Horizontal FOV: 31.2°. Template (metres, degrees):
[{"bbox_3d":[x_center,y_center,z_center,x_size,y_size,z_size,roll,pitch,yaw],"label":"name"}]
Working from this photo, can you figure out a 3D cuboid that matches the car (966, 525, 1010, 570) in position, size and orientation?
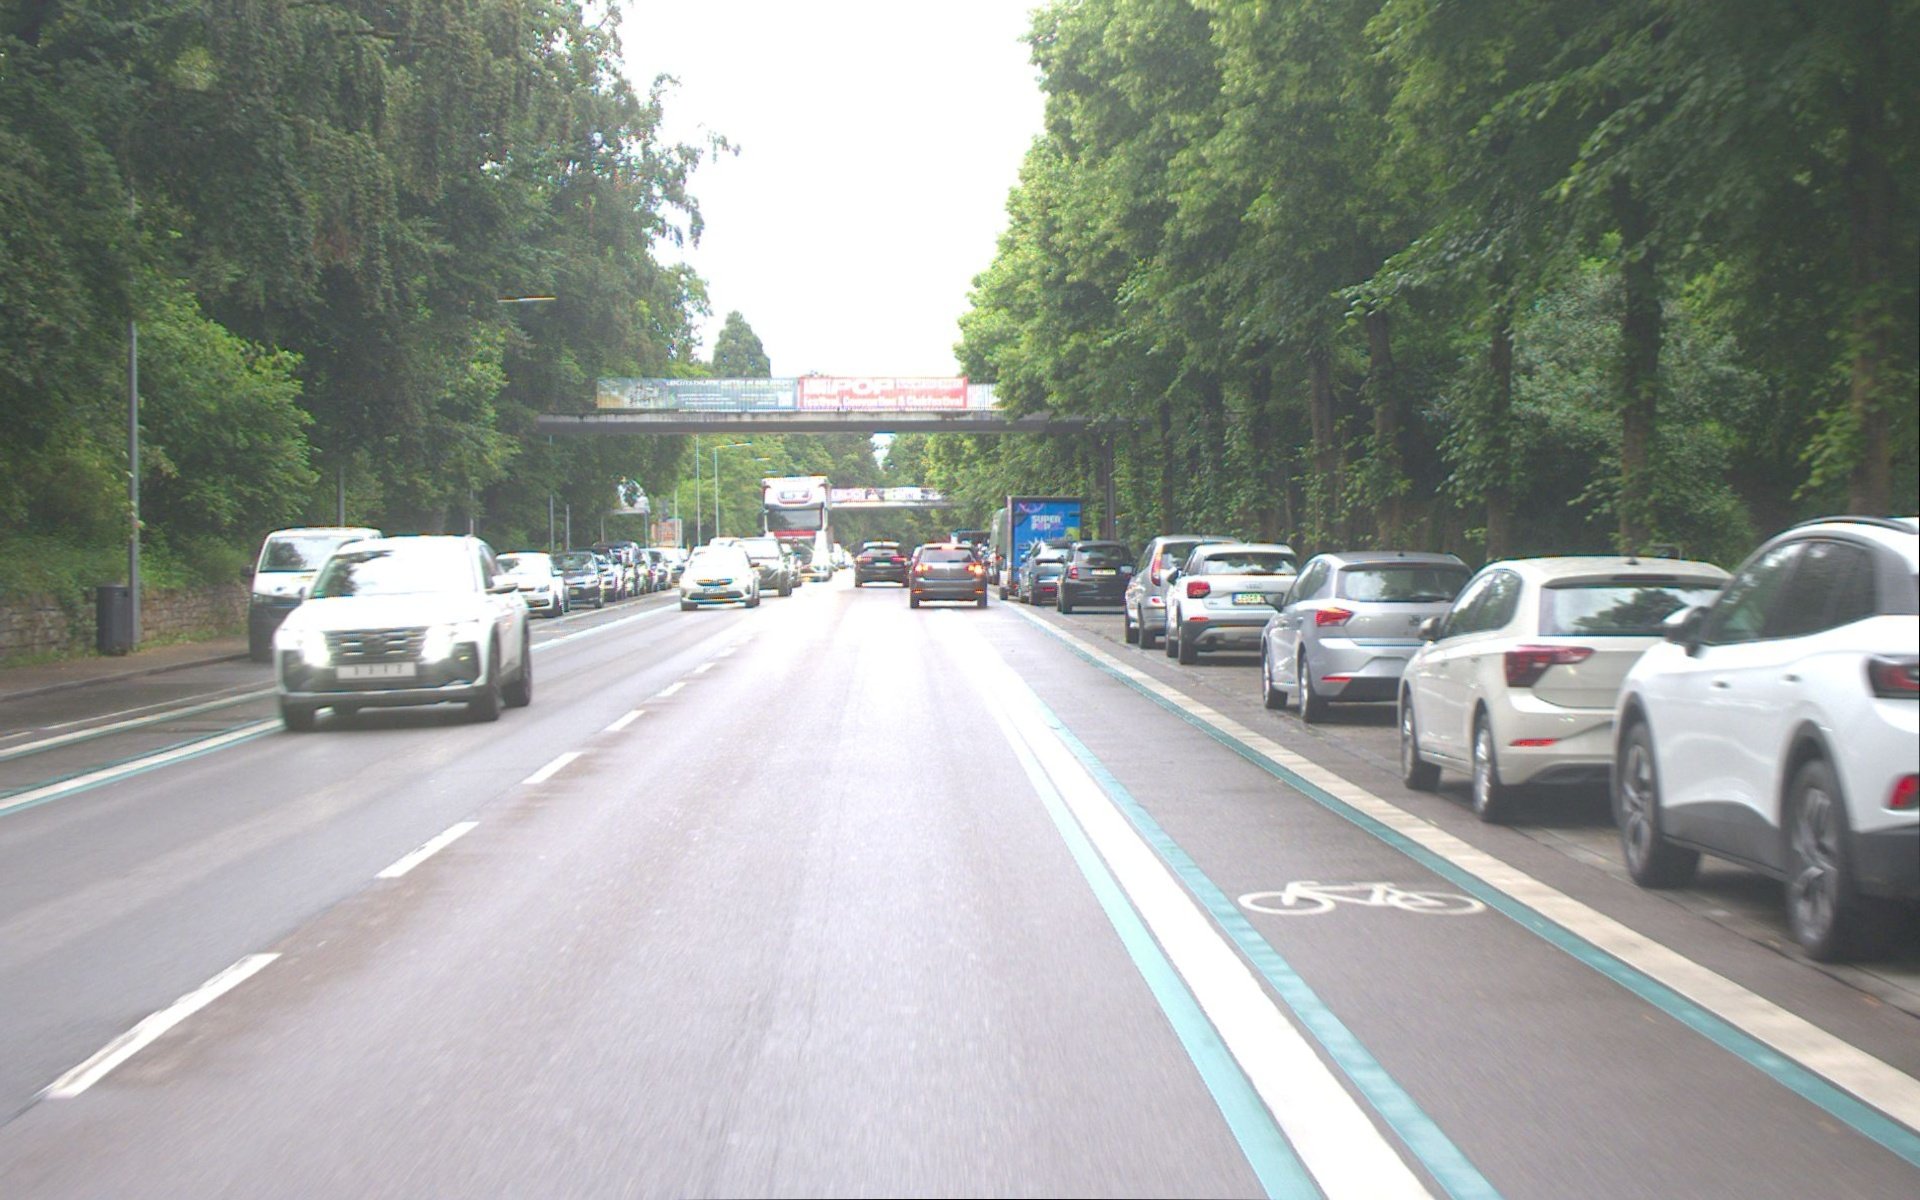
[{"bbox_3d":[1.278,-2.431,158.345,1.926,2.015,4.664,1,1,-1],"label":"car"}]

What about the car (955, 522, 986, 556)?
[{"bbox_3d":[0.684,-3.858,218.532,1.889,2.120,4.045,-1,1,0],"label":"car"}]

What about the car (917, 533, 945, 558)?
[{"bbox_3d":[-1.859,-3.478,219.014,1.731,1.578,4.037,-1,1,-1],"label":"car"}]

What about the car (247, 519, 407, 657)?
[{"bbox_3d":[-9.645,-0.239,52.731,1.973,1.998,5.019,0,1,-5],"label":"car"}]

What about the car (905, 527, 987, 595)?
[{"bbox_3d":[-0.316,-0.908,77.845,1.818,1.503,4.139,0,1,0],"label":"car"}]

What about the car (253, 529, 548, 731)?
[{"bbox_3d":[-4.982,0.209,31.208,1.954,1.633,4.445,-1,2,0],"label":"car"}]

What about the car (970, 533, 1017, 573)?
[{"bbox_3d":[1.353,-1.921,139.949,1.756,1.584,4.499,1,1,-1],"label":"car"}]

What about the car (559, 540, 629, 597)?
[{"bbox_3d":[-10.597,-0.940,99.767,1.687,1.541,4.233,-1,2,-2],"label":"car"}]

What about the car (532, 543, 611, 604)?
[{"bbox_3d":[-10.011,-0.710,88.886,1.831,1.472,4.041,-1,2,-4],"label":"car"}]

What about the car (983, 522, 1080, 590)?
[{"bbox_3d":[1.667,-1.070,82.017,1.899,1.542,4.756,1,1,-4],"label":"car"}]

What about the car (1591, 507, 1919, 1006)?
[{"bbox_3d":[3.959,0.471,13.713,1.993,1.656,4.563,0,1,-1],"label":"car"}]

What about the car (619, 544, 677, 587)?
[{"bbox_3d":[-11.012,-1.244,121.481,1.784,1.418,4.296,-1,2,-2],"label":"car"}]

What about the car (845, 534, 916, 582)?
[{"bbox_3d":[-2.591,-1.374,111.198,2.140,1.487,4.499,1,1,-3],"label":"car"}]

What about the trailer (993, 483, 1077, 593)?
[{"bbox_3d":[1.891,-1.586,87.822,1.952,2.749,4.007,0,1,-1],"label":"trailer"}]

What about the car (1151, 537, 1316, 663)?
[{"bbox_3d":[3.443,-0.039,44.009,1.698,1.508,4.469,1,1,-1],"label":"car"}]

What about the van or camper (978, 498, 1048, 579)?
[{"bbox_3d":[1.790,-2.131,118.813,2.042,2.720,6.901,1,1,-2],"label":"van or camper"}]

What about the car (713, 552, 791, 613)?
[{"bbox_3d":[-5.830,-0.510,96.875,1.961,1.611,4.466,-2,1,-1],"label":"car"}]

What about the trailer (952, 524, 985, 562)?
[{"bbox_3d":[0.488,-3.357,201.687,1.884,2.158,3.808,-1,1,-1],"label":"trailer"}]

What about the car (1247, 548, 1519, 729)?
[{"bbox_3d":[3.643,0.285,30.259,1.698,1.448,4.098,0,1,-3],"label":"car"}]

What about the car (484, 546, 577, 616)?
[{"bbox_3d":[-9.764,-0.455,78.438,1.789,1.477,3.983,-1,2,-3],"label":"car"}]

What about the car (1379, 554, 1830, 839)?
[{"bbox_3d":[3.604,0.479,19.908,1.698,1.448,3.947,0,1,-3],"label":"car"}]

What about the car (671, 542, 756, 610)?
[{"bbox_3d":[-5.752,-0.589,80.646,1.775,1.461,4.063,-3,1,-2],"label":"car"}]

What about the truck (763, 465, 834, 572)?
[{"bbox_3d":[-6.347,-3.207,135.809,2.517,4.032,4.917,-3,1,-2],"label":"truck"}]

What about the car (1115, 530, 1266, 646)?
[{"bbox_3d":[3.291,-0.212,49.871,1.753,1.591,4.740,0,1,-2],"label":"car"}]

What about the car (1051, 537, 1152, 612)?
[{"bbox_3d":[2.972,-0.568,73.125,1.825,1.498,4.571,-1,1,-2],"label":"car"}]

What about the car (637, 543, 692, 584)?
[{"bbox_3d":[-11.066,-1.397,129.008,1.956,1.458,4.757,0,2,-4],"label":"car"}]
